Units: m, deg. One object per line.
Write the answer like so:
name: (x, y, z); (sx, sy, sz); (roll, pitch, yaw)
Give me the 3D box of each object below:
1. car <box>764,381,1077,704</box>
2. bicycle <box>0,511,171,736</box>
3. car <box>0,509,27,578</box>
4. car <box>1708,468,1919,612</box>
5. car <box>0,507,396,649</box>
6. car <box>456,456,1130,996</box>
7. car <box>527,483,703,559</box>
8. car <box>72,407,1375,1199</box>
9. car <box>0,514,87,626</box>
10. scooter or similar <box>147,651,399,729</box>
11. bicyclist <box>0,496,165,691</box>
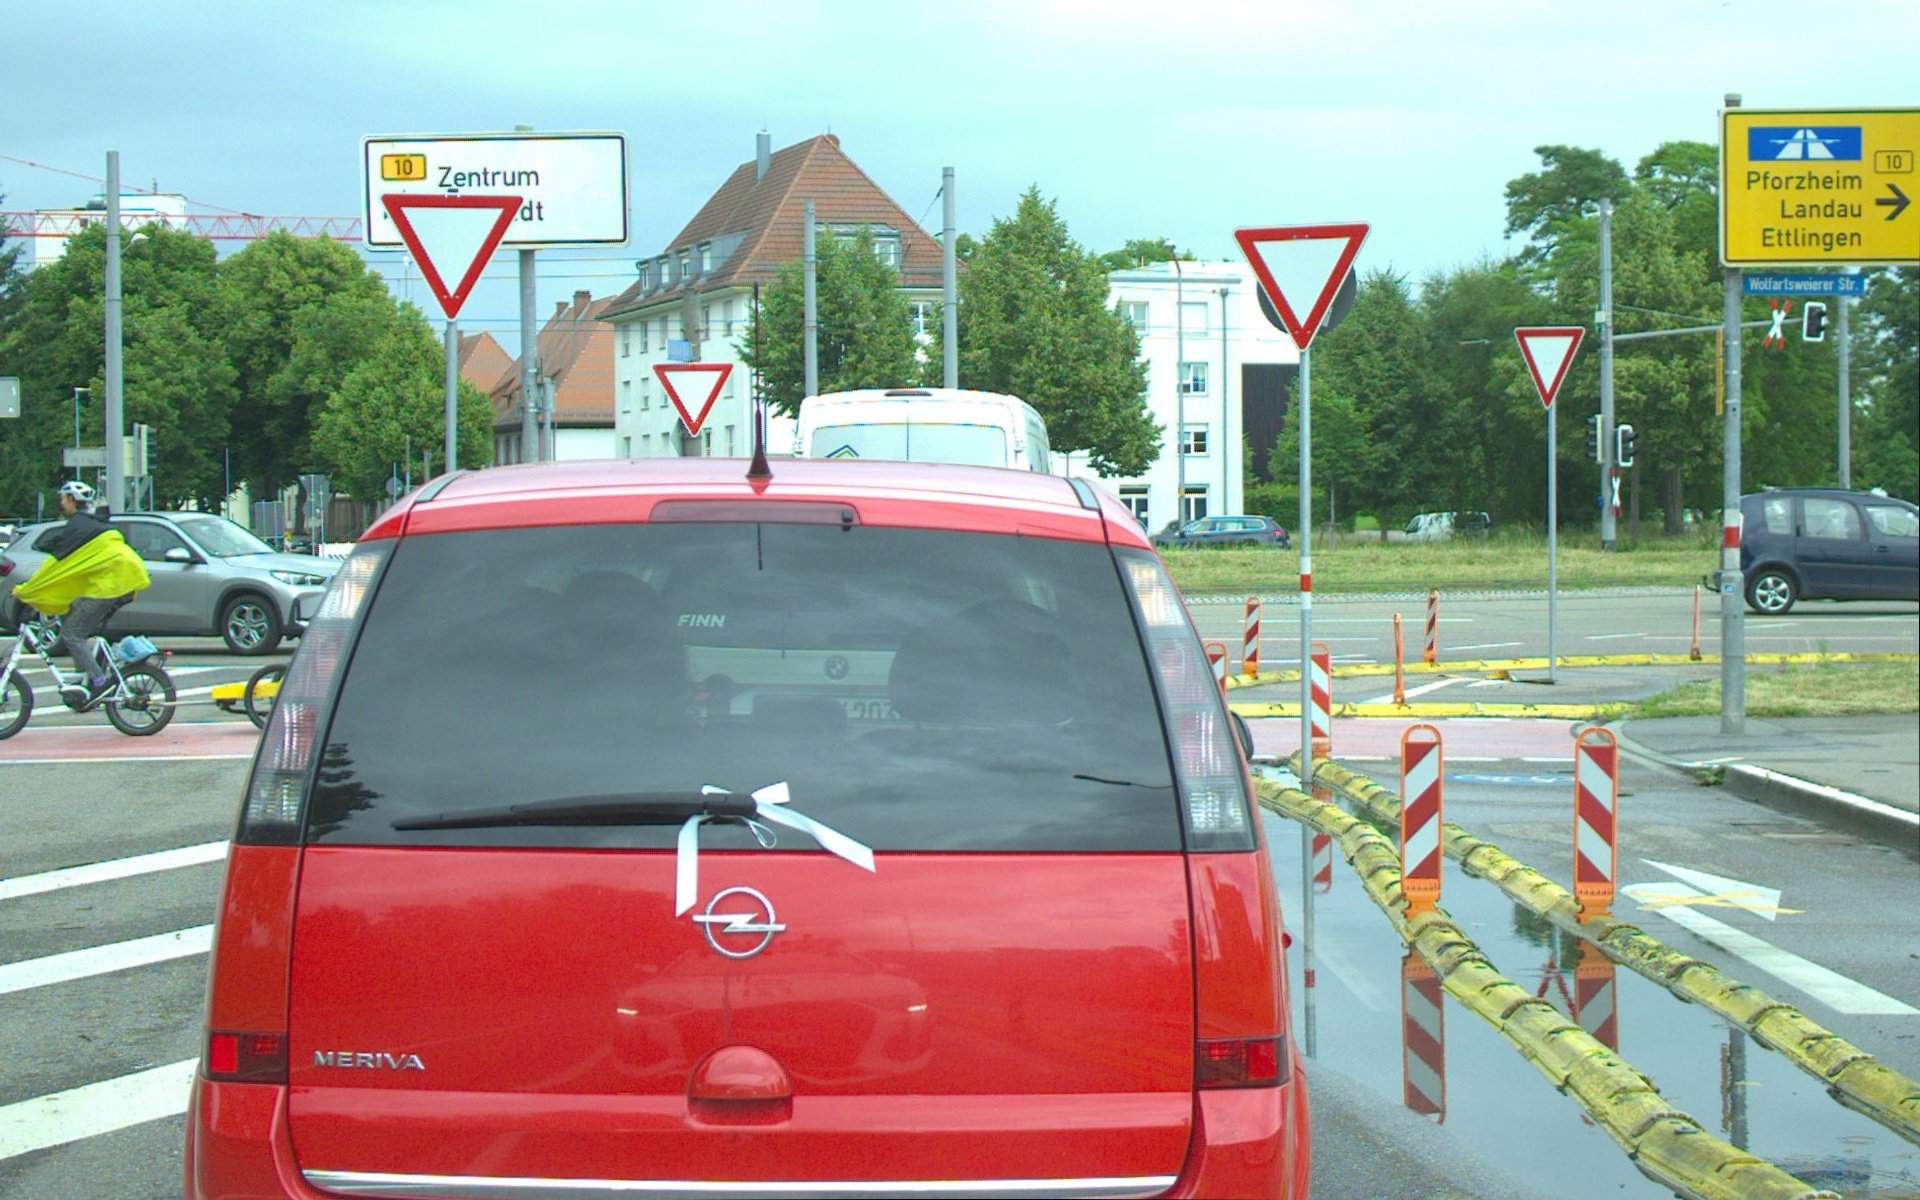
car: (-0.237, -0.522, 29.727); (2.195, 2.531, 4.962); (1, 1, 5)
bicycle: (-6.575, 0.166, 25.052); (1.478, 1.606, 0.605); (0, 1, 16)
car: (-24.495, -1.292, 80.832); (1.998, 1.629, 4.665); (0, 2, 38)
car: (11.935, -0.799, 44.771); (4.196, 1.807, 2.077); (0, 1, 10)
car: (-9.050, -0.260, 39.817); (4.520, 1.577, 1.999); (0, 2, 16)
car: (-0.546, 0.328, 12.891); (2.059, 1.642, 4.608); (1, 1, -1)
car: (-9.460, -2.182, 94.230); (4.464, 2.007, 2.001); (-1, 1, -16)
car: (-0.333, 0.530, 6.263); (1.673, 1.635, 3.627); (1, 1, -1)
car: (-14.227, -0.409, 46.773); (4.314, 1.459, 1.997); (0, 2, 28)
scooter or similar: (-4.961, 0.646, 24.913); (1.607, 0.502, 0.924); (-1, 2, 2)
bicyclist: (-6.424, -0.055, 25.004); (1.062, 1.396, 0.614); (0, 1, 16)
